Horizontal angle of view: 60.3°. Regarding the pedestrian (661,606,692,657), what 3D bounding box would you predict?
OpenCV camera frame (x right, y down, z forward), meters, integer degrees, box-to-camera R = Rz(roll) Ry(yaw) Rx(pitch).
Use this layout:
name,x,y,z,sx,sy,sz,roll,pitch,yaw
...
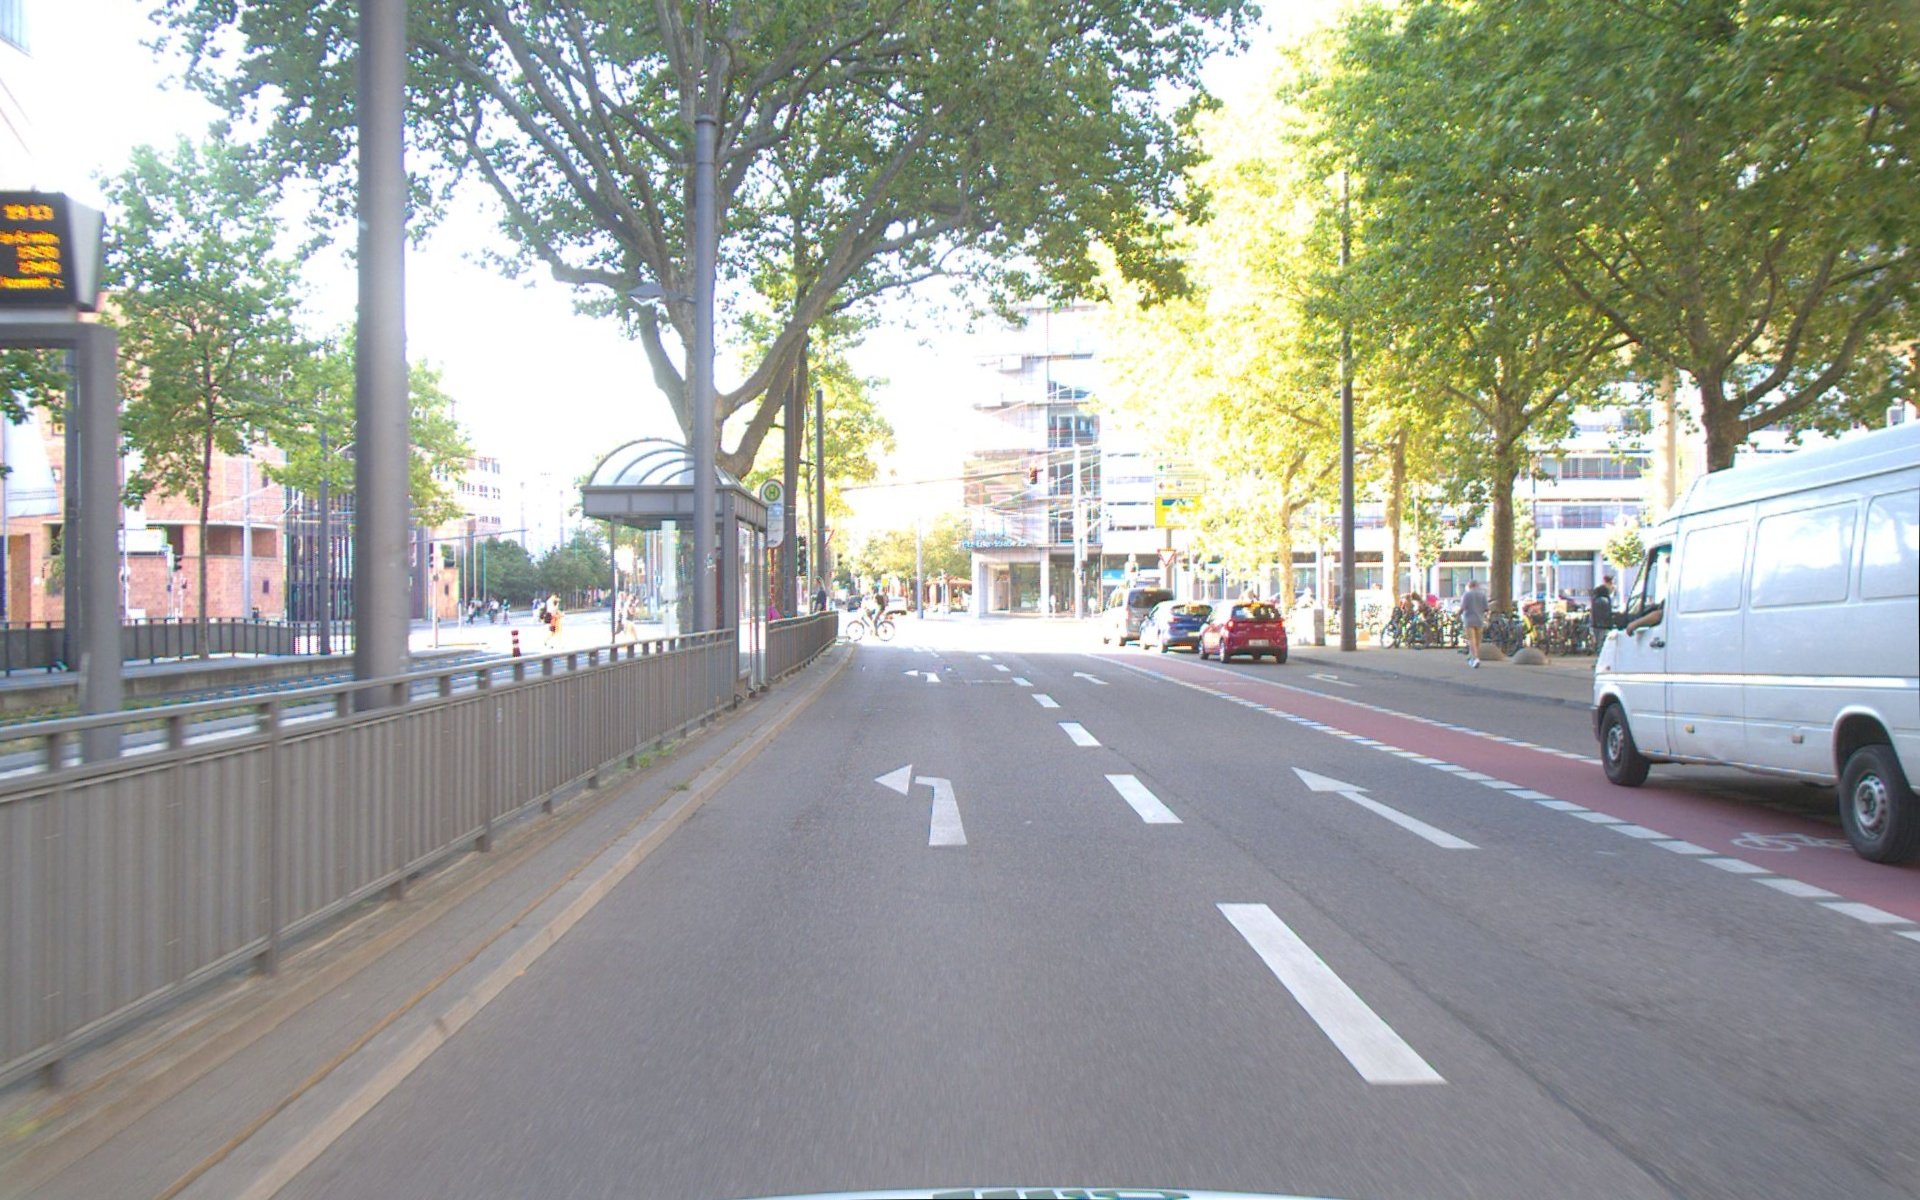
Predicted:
name,x,y,z,sx,sy,sz,roll,pitch,yaw
pedestrian,-9.866,1.089,57.571,1.053,1.745,0.627,0,-1,-8

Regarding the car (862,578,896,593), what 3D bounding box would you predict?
name,x,y,z,sx,sy,sz,roll,pitch,yaw
car,-9.472,-1.700,193.712,3.681,1.780,1.783,1,-1,10

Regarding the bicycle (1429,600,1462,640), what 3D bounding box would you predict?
name,x,y,z,sx,sy,sz,roll,pitch,yaw
bicycle,14.308,0.582,48.782,0.412,1.180,1.475,-1,0,-6

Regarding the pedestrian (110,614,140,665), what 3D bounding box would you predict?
name,x,y,z,sx,sy,sz,roll,pitch,yaw
pedestrian,-27.144,1.280,53.769,0.578,1.612,0.724,2,-1,-5

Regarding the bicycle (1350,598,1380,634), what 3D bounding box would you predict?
name,x,y,z,sx,sy,sz,roll,pitch,yaw
bicycle,14.983,0.593,61.204,0.441,1.309,1.885,-1,0,-6

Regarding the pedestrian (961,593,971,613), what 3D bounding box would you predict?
name,x,y,z,sx,sy,sz,roll,pitch,yaw
pedestrian,0.473,0.228,129.816,0.725,1.491,0.536,-1,0,-6

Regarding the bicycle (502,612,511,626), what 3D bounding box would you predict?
name,x,y,z,sx,sy,sz,roll,pitch,yaw
bicycle,-31.982,1.333,116.581,0.504,0.897,1.833,-1,0,-12

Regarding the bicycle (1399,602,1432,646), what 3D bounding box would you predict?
name,x,y,z,sx,sy,sz,roll,pitch,yaw
bicycle,12.199,0.639,44.260,0.583,1.135,1.949,-1,0,23

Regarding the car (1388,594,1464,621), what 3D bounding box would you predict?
name,x,y,z,sx,sy,sz,roll,pitch,yaw
car,28.596,0.466,101.483,4.153,1.587,1.796,-1,0,1

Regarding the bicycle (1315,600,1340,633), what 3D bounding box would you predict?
name,x,y,z,sx,sy,sz,roll,pitch,yaw
bicycle,13.443,0.593,60.502,0.441,1.164,1.475,-1,0,-6

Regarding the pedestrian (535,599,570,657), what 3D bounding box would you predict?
name,x,y,z,sx,sy,sz,roll,pitch,yaw
pedestrian,-13.595,0.929,55.182,1.054,1.904,0.736,1,-1,-12

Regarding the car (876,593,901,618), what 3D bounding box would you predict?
name,x,y,z,sx,sy,sz,roll,pitch,yaw
car,-6.192,0.458,142.581,1.954,2.026,3.996,-1,0,-4

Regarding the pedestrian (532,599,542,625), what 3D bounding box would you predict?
name,x,y,z,sx,sy,sz,roll,pitch,yaw
pedestrian,-28.110,0.808,110.009,0.529,1.679,0.621,-1,0,-23

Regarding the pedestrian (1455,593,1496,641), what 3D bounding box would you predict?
name,x,y,z,sx,sy,sz,roll,pitch,yaw
pedestrian,20.281,0.662,65.082,1.186,1.854,1.039,1,-1,-10

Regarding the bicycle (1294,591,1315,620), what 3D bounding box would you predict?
name,x,y,z,sx,sy,sz,roll,pitch,yaw
bicycle,14.105,0.218,67.710,0.554,1.146,1.779,-1,0,2

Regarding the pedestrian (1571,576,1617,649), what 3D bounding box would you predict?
name,x,y,z,sx,sy,sz,roll,pitch,yaw
pedestrian,15.869,0.307,41.393,0.801,1.788,0.770,-1,0,-6

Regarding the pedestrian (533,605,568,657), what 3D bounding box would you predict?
name,x,y,z,sx,sy,sz,roll,pitch,yaw
pedestrian,-13.464,1.011,54.442,1.053,1.711,0.756,1,-1,-12

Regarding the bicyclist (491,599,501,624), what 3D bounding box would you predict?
name,x,y,z,sx,sy,sz,roll,pitch,yaw
bicyclist,-32.615,0.797,116.337,0.582,1.705,0.787,-1,0,-10

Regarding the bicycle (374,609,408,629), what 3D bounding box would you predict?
name,x,y,z,sx,sy,sz,roll,pitch,yaw
bicycle,-36.412,1.217,105.825,2.079,1.261,0.446,-1,0,-42

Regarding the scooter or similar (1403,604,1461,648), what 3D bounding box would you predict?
name,x,y,z,sx,sy,sz,roll,pitch,yaw
scooter or similar,13.119,0.727,46.005,1.233,1.162,0.912,3,-3,-18

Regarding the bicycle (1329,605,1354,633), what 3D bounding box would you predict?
name,x,y,z,sx,sy,sz,roll,pitch,yaw
bicycle,14.110,0.702,61.177,0.441,1.000,1.475,-1,0,-6

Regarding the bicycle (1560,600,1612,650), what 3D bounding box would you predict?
name,x,y,z,sx,sy,sz,roll,pitch,yaw
bicycle,15.001,0.582,39.643,0.492,1.157,1.653,-1,0,-4

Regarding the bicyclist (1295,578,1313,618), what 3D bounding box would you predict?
name,x,y,z,sx,sy,sz,roll,pitch,yaw
bicyclist,14.104,-0.086,67.809,0.550,1.644,0.822,-1,0,2

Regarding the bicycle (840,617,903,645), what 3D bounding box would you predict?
name,x,y,z,sx,sy,sz,roll,pitch,yaw
bicycle,-3.114,1.104,58.285,2.138,0.950,0.666,-1,0,-11

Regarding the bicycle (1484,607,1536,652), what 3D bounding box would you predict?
name,x,y,z,sx,sy,sz,roll,pitch,yaw
bicycle,13.138,0.697,39.541,0.584,1.050,1.653,-1,0,-4

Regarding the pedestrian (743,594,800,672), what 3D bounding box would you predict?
name,x,y,z,sx,sy,sz,roll,pitch,yaw
pedestrian,-3.528,0.612,30.996,0.956,1.424,0.664,1,-1,0

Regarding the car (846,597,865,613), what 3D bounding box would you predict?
name,x,y,z,sx,sy,sz,roll,pitch,yaw
car,-11.369,0.554,179.339,1.954,1.691,3.996,-1,0,-4

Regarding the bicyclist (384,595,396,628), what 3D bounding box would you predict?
name,x,y,z,sx,sy,sz,roll,pitch,yaw
bicyclist,-36.468,0.745,105.776,0.557,2.096,0.444,-1,0,-41

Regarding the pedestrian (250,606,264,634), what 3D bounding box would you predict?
name,x,y,z,sx,sy,sz,roll,pitch,yaw
pedestrian,-41.603,1.180,97.880,0.532,1.642,0.570,-1,0,27

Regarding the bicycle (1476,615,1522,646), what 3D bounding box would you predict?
name,x,y,z,sx,sy,sz,roll,pitch,yaw
bicycle,13.899,0.791,42.687,1.086,0.774,0.399,-1,0,24

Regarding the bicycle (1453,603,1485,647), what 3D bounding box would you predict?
name,x,y,z,sx,sy,sz,roll,pitch,yaw
bicycle,13.475,0.652,43.768,0.594,1.135,1.825,-1,0,23

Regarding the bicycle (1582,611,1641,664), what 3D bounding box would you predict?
name,x,y,z,sx,sy,sz,roll,pitch,yaw
bicycle,12.836,0.722,32.625,0.442,0.997,1.762,-1,0,-1

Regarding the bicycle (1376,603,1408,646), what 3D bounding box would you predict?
name,x,y,z,sx,sy,sz,roll,pitch,yaw
bicycle,11.748,0.649,44.938,0.583,1.135,1.825,-1,0,23

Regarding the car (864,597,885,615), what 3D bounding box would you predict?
name,x,y,z,sx,sy,sz,roll,pitch,yaw
car,-8.161,0.590,157.750,1.954,1.691,3.996,-1,0,-4

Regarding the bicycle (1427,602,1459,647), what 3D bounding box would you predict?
name,x,y,z,sx,sy,sz,roll,pitch,yaw
bicycle,12.842,0.637,43.966,0.583,1.135,1.825,-1,0,23

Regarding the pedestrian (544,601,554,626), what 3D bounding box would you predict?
name,x,y,z,sx,sy,sz,roll,pitch,yaw
pedestrian,-27.686,0.916,111.390,0.529,1.679,0.621,-1,0,-23

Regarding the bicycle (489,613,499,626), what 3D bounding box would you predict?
name,x,y,z,sx,sy,sz,roll,pitch,yaw
bicycle,-32.756,1.366,116.214,0.504,0.897,1.833,-1,0,-12

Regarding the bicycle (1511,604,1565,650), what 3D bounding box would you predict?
name,x,y,z,sx,sy,sz,roll,pitch,yaw
bicycle,13.813,0.638,39.576,0.584,1.050,1.653,-1,0,-4

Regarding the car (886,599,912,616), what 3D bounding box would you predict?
name,x,y,z,sx,sy,sz,roll,pitch,yaw
car,-5.052,0.588,135.822,1.954,1.355,3.996,-1,0,-4

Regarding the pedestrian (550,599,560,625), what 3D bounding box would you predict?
name,x,y,z,sx,sy,sz,roll,pitch,yaw
pedestrian,-27.051,0.810,110.563,0.529,1.679,0.621,-1,0,-23

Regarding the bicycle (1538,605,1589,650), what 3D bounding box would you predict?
name,x,y,z,sx,sy,sz,roll,pitch,yaw
bicycle,14.424,0.653,39.590,0.492,1.050,1.653,-1,0,-4

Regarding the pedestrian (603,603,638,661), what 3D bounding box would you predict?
name,x,y,z,sx,sy,sz,roll,pitch,yaw
pedestrian,-11.457,1.072,55.836,1.125,1.927,0.831,1,-1,-12

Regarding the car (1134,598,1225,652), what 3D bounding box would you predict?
name,x,y,z,sx,sy,sz,roll,pitch,yaw
car,6.419,0.701,48.791,1.730,1.490,4.212,-1,0,-5

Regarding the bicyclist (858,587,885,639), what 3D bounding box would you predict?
name,x,y,z,sx,sy,sz,roll,pitch,yaw
bicyclist,-3.117,0.463,58.282,0.834,1.816,0.751,-1,0,-10

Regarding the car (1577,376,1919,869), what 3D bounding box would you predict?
name,x,y,z,sx,sy,sz,roll,pitch,yaw
car,6.400,0.136,11.333,1.952,2.772,6.562,1,0,1

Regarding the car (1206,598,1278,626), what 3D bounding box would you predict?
name,x,y,z,sx,sy,sz,roll,pitch,yaw
car,17.357,0.750,102.029,4.152,1.630,1.796,-1,0,3

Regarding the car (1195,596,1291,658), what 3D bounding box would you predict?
name,x,y,z,sx,sy,sz,roll,pitch,yaw
car,7.026,0.642,41.329,1.528,1.490,3.618,0,0,-4

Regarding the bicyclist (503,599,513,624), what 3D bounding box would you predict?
name,x,y,z,sx,sy,sz,roll,pitch,yaw
bicyclist,-31.889,0.812,116.650,0.582,1.705,0.787,-1,0,-10

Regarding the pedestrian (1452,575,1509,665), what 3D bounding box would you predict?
name,x,y,z,sx,sy,sz,roll,pitch,yaw
pedestrian,10.712,0.406,34.058,0.854,1.817,0.808,-1,0,-3

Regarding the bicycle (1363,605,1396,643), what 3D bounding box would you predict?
name,x,y,z,sx,sy,sz,roll,pitch,yaw
bicycle,12.269,0.703,48.383,0.614,1.075,1.572,-1,0,2

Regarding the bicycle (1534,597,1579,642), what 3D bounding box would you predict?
name,x,y,z,sx,sy,sz,roll,pitch,yaw
bicycle,16.165,0.524,44.828,0.413,1.180,1.472,-1,0,-12

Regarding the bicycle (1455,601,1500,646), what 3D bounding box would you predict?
name,x,y,z,sx,sy,sz,roll,pitch,yaw
bicycle,14.018,0.620,44.813,0.470,1.180,1.472,-1,0,-12

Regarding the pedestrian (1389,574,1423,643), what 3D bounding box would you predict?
name,x,y,z,sx,sy,sz,roll,pitch,yaw
pedestrian,11.991,0.231,44.476,0.789,1.817,0.657,-1,0,22

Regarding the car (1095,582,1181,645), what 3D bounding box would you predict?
name,x,y,z,sx,sy,sz,roll,pitch,yaw
car,5.896,0.426,55.380,1.954,2.000,5.133,1,0,-4

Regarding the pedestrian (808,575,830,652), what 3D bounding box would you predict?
name,x,y,z,sx,sy,sz,roll,pitch,yaw
pedestrian,-3.583,0.346,41.948,0.499,1.933,0.759,1,-1,-3

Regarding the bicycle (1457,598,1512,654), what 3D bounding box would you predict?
name,x,y,z,sx,sy,sz,roll,pitch,yaw
bicycle,12.485,0.601,39.440,0.584,1.286,1.874,-1,0,-4

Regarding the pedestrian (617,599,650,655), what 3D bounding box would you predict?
name,x,y,z,sx,sy,sz,roll,pitch,yaw
pedestrian,-10.856,0.895,55.013,1.052,1.837,0.756,1,-1,-12
